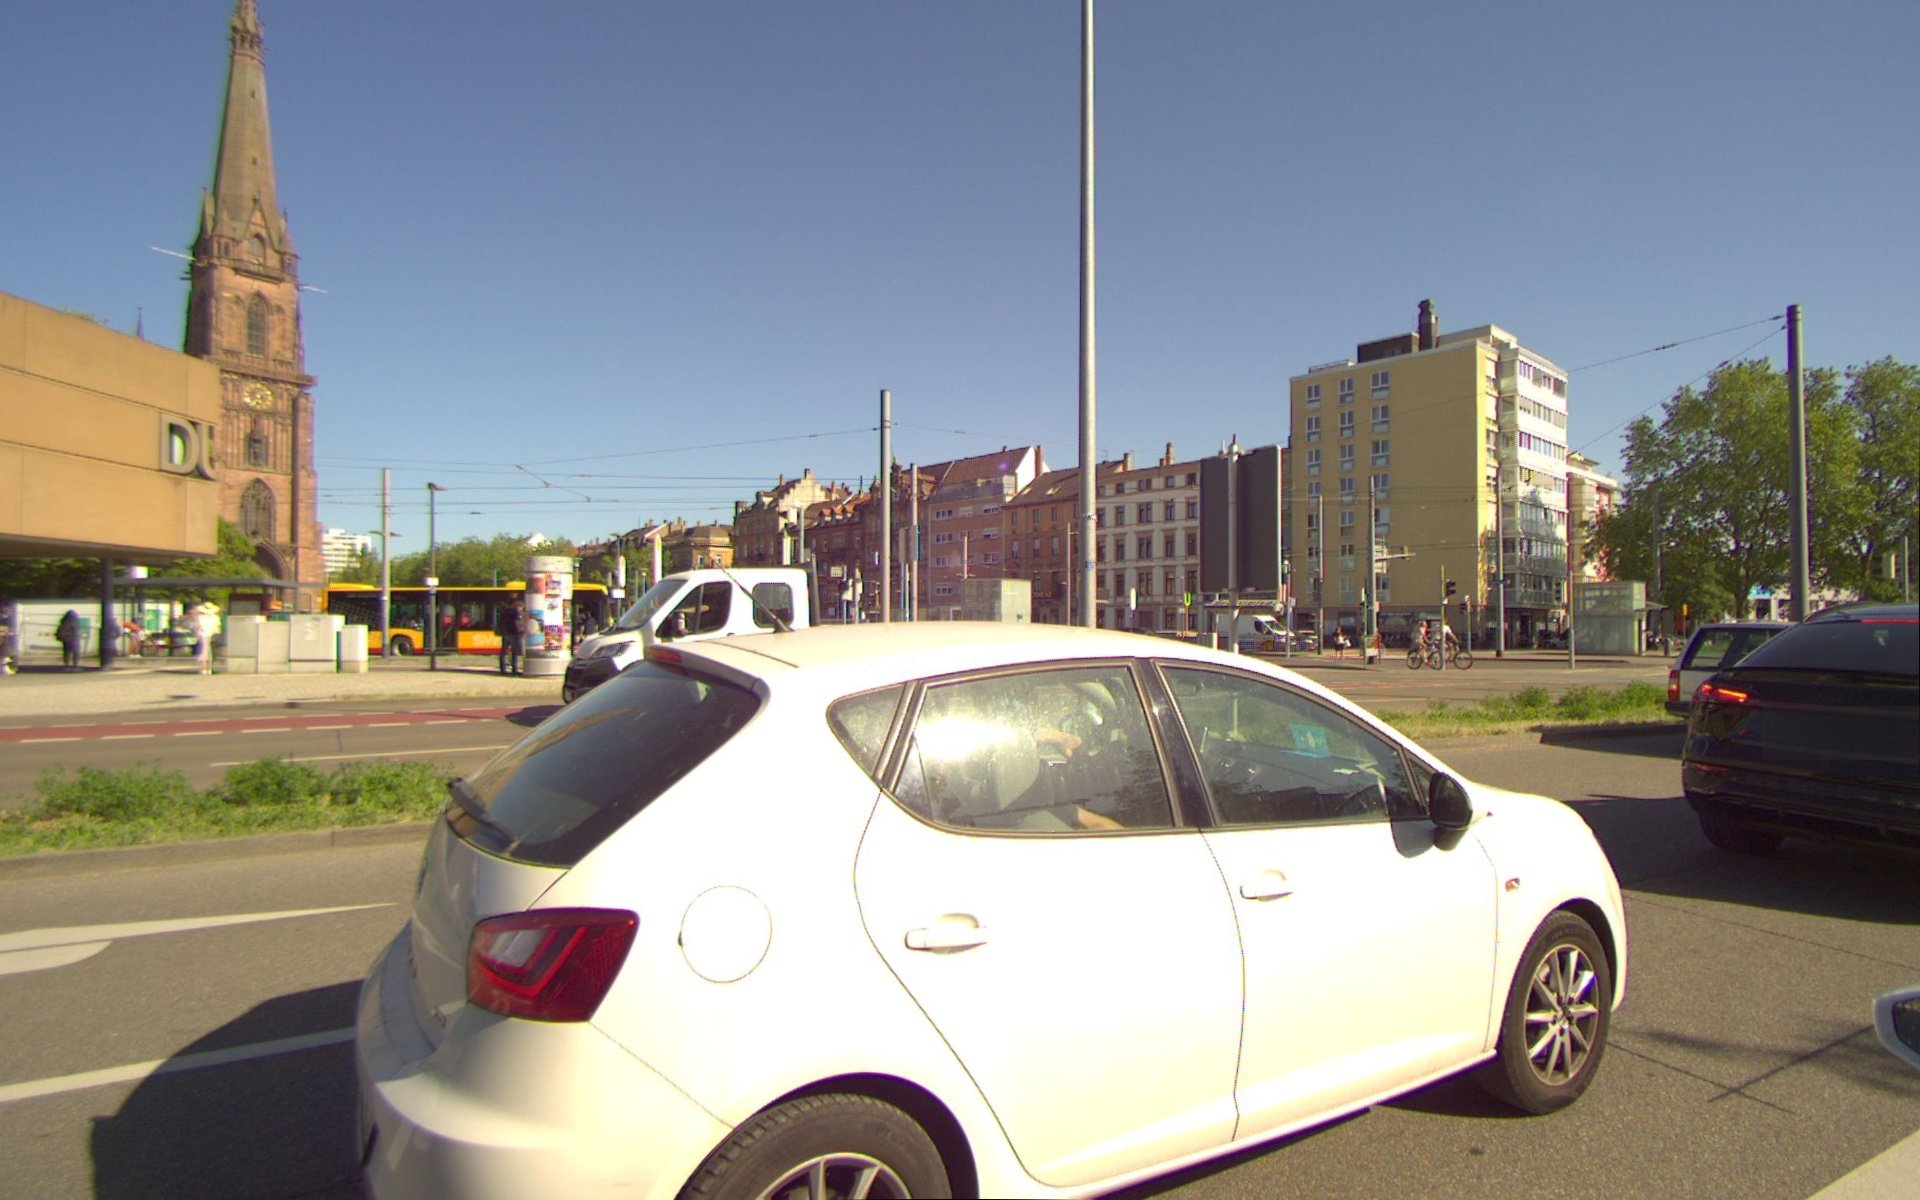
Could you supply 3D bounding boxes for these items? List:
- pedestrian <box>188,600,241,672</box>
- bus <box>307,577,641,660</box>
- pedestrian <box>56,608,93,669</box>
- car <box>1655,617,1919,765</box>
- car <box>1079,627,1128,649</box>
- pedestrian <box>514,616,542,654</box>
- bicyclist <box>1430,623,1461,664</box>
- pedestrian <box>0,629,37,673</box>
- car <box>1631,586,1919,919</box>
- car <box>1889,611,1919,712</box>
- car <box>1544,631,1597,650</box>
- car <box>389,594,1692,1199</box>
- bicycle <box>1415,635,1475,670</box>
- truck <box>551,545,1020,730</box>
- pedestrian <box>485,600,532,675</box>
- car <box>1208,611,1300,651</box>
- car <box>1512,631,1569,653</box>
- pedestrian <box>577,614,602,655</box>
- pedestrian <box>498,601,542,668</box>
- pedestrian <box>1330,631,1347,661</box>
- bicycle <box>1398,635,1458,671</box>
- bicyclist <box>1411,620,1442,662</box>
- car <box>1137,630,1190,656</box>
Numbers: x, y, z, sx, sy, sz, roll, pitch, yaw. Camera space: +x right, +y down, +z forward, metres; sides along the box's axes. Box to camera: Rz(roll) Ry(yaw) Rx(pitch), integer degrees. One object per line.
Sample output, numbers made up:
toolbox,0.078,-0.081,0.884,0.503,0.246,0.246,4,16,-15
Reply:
pedestrian,-18.745,0.906,25.278,0.634,1.745,0.790,2,-2,3
bus,-19.698,0.773,41.165,12.337,3.258,2.975,0,-1,2
pedestrian,-22.735,0.985,25.800,0.503,1.529,0.742,3,-2,-30
car,9.977,0.948,11.541,3.749,1.461,1.719,1,-1,-27
car,12.668,3.335,88.569,1.984,1.795,3.952,-1,0,-41
pedestrian,-16.206,1.314,37.676,0.787,1.412,0.638,0,-1,35
bicyclist,17.400,1.546,36.011,0.635,1.463,0.771,1,-1,-28
pedestrian,-21.837,1.179,23.169,0.563,0.978,0.509,2,-2,8
car,6.468,0.798,6.353,4.325,1.645,1.975,1,0,-30
car,15.846,0.939,14.754,3.852,1.462,1.722,1,1,-22
car,46.987,3.080,77.365,3.229,1.334,1.516,-1,0,45
car,0.402,0.756,3.075,3.694,1.455,1.682,1,0,-31
bicycle,17.380,1.857,36.040,0.635,1.180,1.943,1,-1,-27
truck,-2.481,0.567,15.461,6.807,2.344,2.202,1,-2,-32
pedestrian,-10.963,0.893,24.419,0.634,1.765,0.790,2,0,15
car,18.790,1.986,64.325,1.985,2.443,5.436,2,-2,-42
car,43.306,3.131,74.917,1.682,1.530,3.398,2,-2,-45
pedestrian,-14.379,1.324,38.991,0.628,1.555,0.963,1,-1,-4
pedestrian,-11.742,0.921,26.811,0.634,1.745,0.791,2,-2,15
pedestrian,18.261,2.207,48.441,0.564,1.427,0.588,-2,1,-42
bicycle,16.464,1.849,35.406,0.635,1.180,1.943,1,-1,-27
bicyclist,16.458,1.441,35.431,0.635,1.463,0.771,1,-1,-26
car,17.091,3.602,84.419,1.984,2.040,3.952,-1,0,-41
